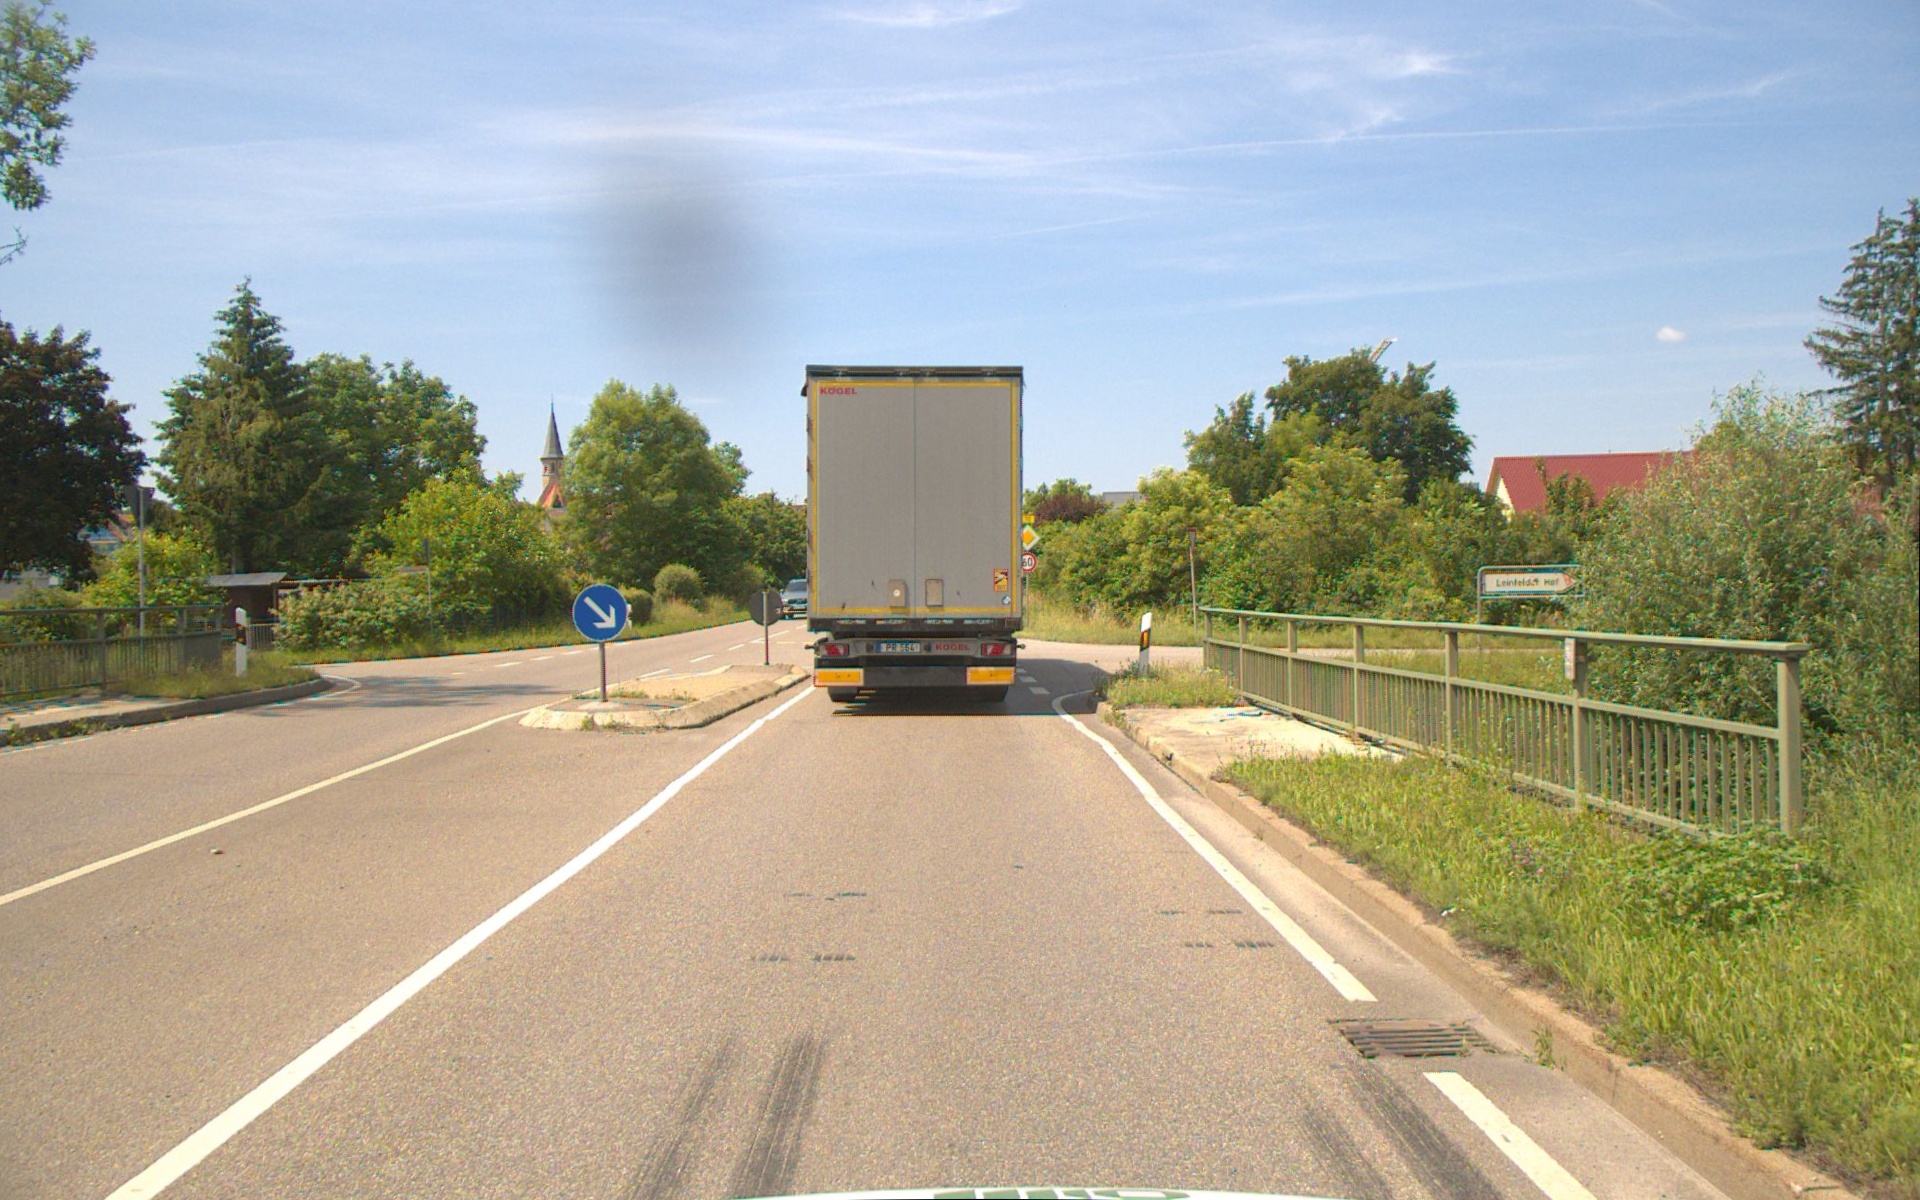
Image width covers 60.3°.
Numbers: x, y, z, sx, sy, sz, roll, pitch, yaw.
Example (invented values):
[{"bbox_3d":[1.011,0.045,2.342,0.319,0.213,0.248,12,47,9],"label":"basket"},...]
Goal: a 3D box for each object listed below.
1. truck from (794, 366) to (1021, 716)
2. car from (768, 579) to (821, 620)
[{"bbox_3d":[-0.788,-0.728,23.331,2.594,3.985,8.821,0,1,-3],"label":"truck"},{"bbox_3d":[-7.043,-0.029,70.757,1.909,1.683,4.430,-1,0,-2],"label":"car"}]
